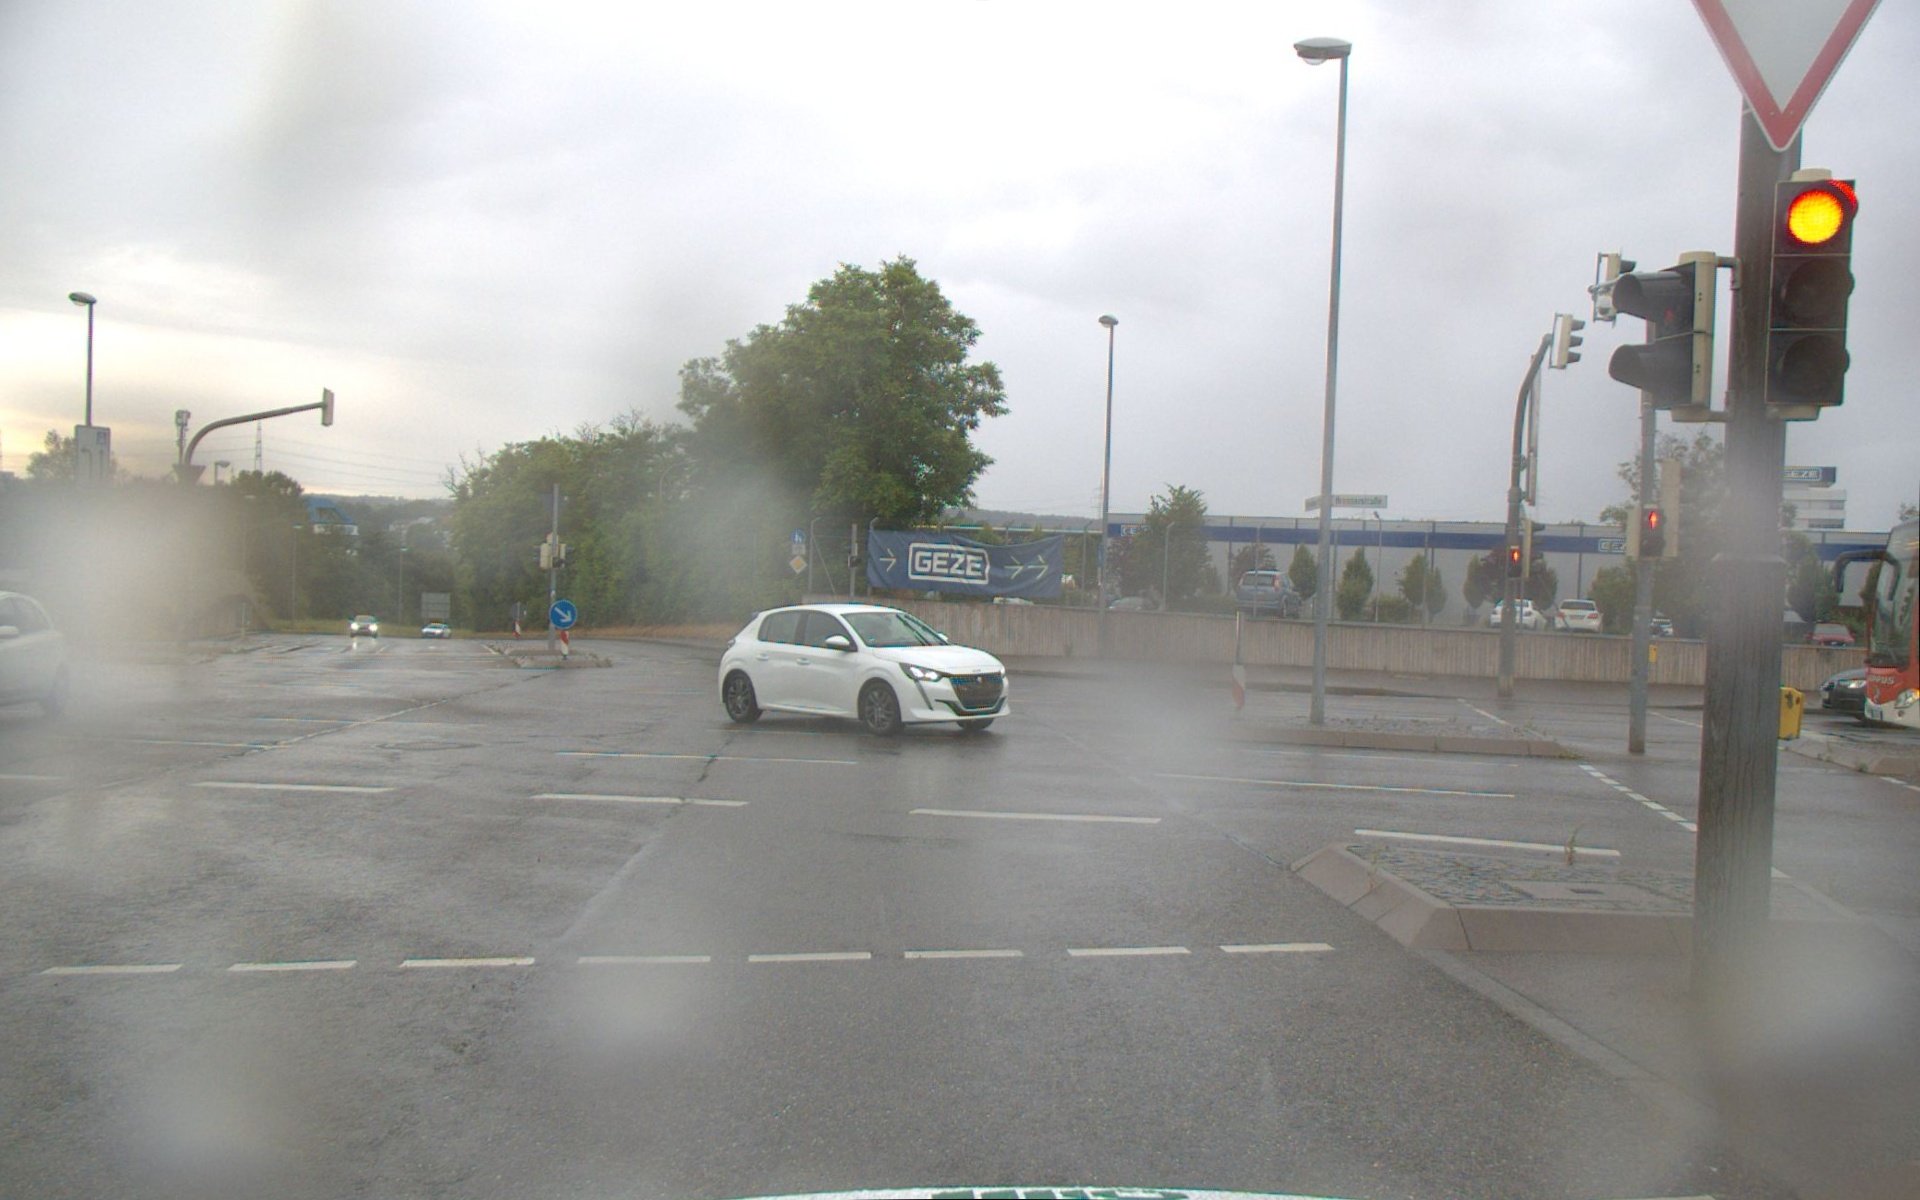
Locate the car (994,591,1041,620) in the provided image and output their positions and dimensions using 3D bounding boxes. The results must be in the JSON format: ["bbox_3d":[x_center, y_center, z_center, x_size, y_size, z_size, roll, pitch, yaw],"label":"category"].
[{"bbox_3d":[3.354,0.308,95.944,1.632,1.634,3.531,1,0,20],"label":"car"}]

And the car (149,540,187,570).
[{"bbox_3d":[-45.297,-2.561,94.593,1.806,1.467,3.964,3,-2,-27],"label":"car"}]

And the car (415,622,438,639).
[{"bbox_3d":[-50.025,2.822,155.209,1.690,1.521,3.986,1,-1,-13],"label":"car"}]

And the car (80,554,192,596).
[{"bbox_3d":[-35.223,-1.070,70.749,3.902,1.614,1.903,1,-2,12],"label":"car"}]

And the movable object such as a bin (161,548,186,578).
[{"bbox_3d":[-40.960,-1.903,86.162,1.071,1.462,1.434,3,-2,-27],"label":"movable object such as a bin"}]

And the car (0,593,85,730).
[{"bbox_3d":[-11.754,0.693,19.357,1.591,1.531,3.813,0,1,-11],"label":"car"}]

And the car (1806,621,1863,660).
[{"bbox_3d":[39.174,1.787,74.146,1.883,1.616,3.788,2,0,22],"label":"car"}]

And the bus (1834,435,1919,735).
[{"bbox_3d":[17.598,0.135,19.922,11.995,3.638,2.988,3,0,17],"label":"bus"}]

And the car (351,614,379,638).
[{"bbox_3d":[-40.084,1.741,111.400,1.638,1.521,3.973,1,-1,-22],"label":"car"}]

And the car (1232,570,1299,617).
[{"bbox_3d":[10.651,-0.212,57.597,1.707,1.580,3.531,1,0,20],"label":"car"}]

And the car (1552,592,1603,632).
[{"bbox_3d":[25.452,0.507,68.100,1.820,1.552,4.103,1,0,22],"label":"car"}]

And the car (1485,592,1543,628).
[{"bbox_3d":[23.037,0.422,68.694,1.781,1.459,4.100,1,0,25],"label":"car"}]

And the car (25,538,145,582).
[{"bbox_3d":[-35.847,-1.618,67.823,3.902,1.614,1.903,1,-2,8],"label":"car"}]

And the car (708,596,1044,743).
[{"bbox_3d":[-1.071,0.752,19.657,1.858,1.534,3.915,1,0,-45],"label":"car"}]

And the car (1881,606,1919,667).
[{"bbox_3d":[33.101,1.250,57.079,1.707,2.049,3.824,1,0,20],"label":"car"}]

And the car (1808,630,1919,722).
[{"bbox_3d":[16.267,1.254,26.683,4.286,1.378,1.827,2,0,16],"label":"car"}]
